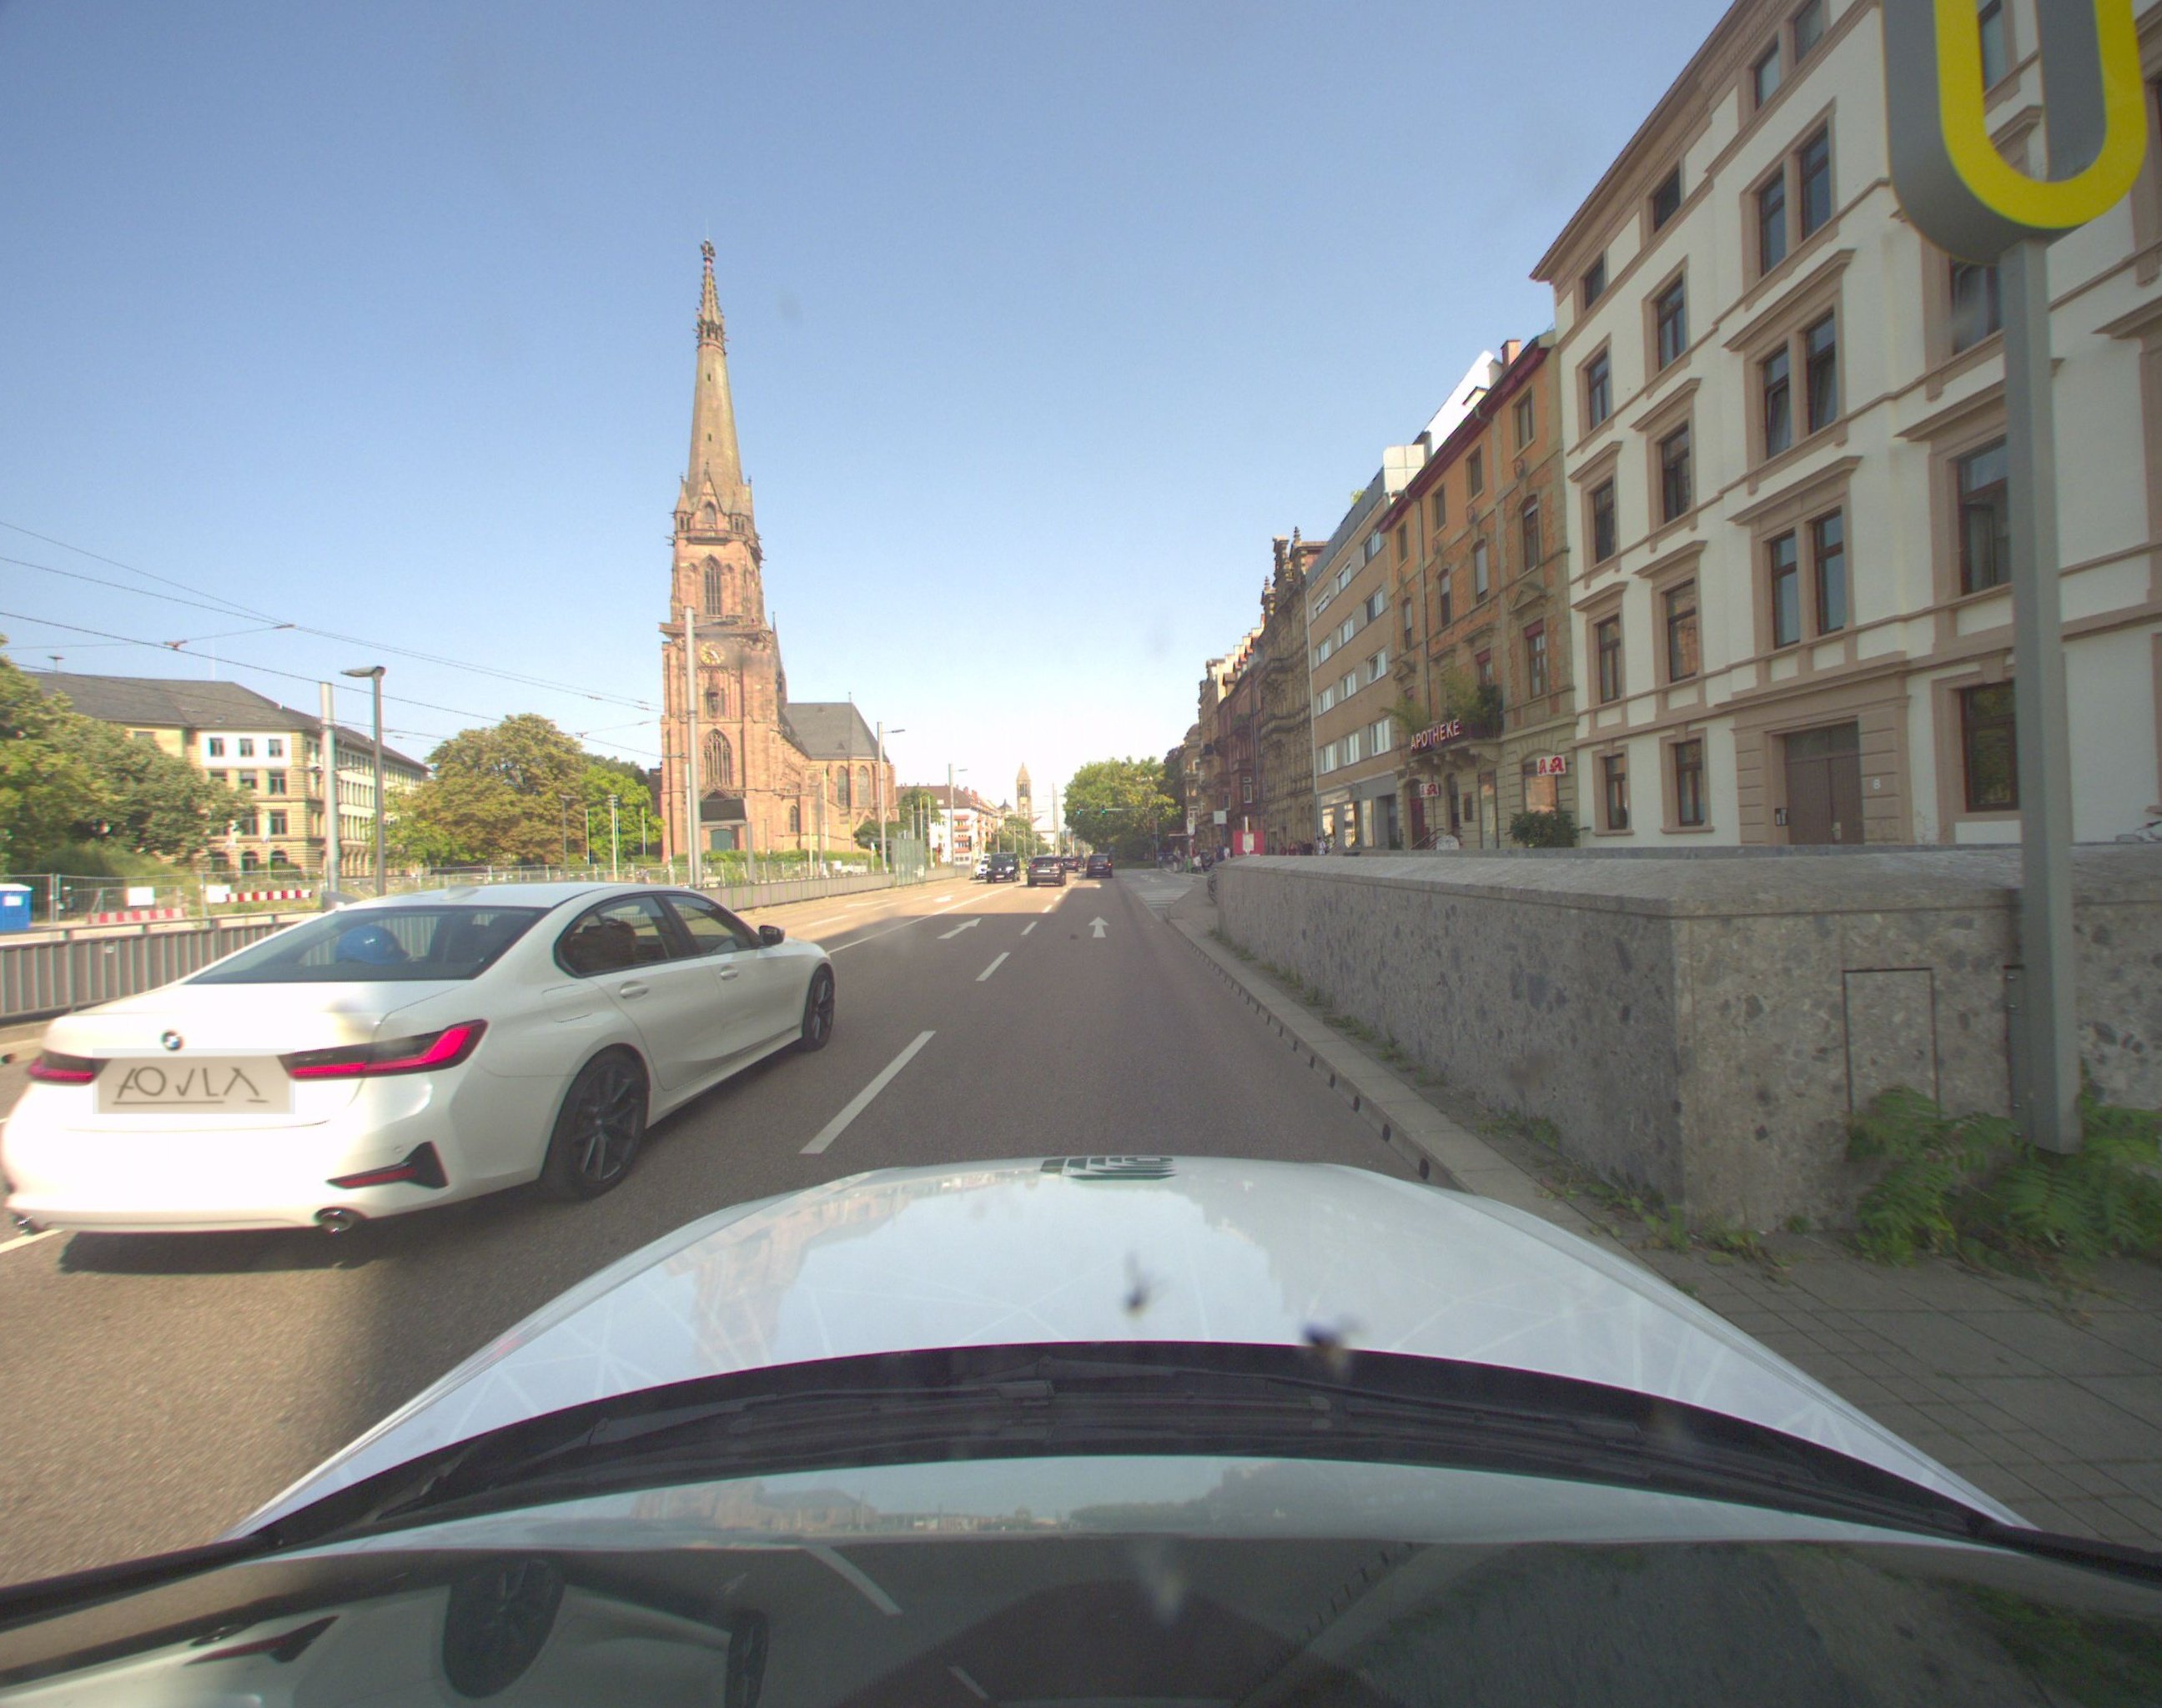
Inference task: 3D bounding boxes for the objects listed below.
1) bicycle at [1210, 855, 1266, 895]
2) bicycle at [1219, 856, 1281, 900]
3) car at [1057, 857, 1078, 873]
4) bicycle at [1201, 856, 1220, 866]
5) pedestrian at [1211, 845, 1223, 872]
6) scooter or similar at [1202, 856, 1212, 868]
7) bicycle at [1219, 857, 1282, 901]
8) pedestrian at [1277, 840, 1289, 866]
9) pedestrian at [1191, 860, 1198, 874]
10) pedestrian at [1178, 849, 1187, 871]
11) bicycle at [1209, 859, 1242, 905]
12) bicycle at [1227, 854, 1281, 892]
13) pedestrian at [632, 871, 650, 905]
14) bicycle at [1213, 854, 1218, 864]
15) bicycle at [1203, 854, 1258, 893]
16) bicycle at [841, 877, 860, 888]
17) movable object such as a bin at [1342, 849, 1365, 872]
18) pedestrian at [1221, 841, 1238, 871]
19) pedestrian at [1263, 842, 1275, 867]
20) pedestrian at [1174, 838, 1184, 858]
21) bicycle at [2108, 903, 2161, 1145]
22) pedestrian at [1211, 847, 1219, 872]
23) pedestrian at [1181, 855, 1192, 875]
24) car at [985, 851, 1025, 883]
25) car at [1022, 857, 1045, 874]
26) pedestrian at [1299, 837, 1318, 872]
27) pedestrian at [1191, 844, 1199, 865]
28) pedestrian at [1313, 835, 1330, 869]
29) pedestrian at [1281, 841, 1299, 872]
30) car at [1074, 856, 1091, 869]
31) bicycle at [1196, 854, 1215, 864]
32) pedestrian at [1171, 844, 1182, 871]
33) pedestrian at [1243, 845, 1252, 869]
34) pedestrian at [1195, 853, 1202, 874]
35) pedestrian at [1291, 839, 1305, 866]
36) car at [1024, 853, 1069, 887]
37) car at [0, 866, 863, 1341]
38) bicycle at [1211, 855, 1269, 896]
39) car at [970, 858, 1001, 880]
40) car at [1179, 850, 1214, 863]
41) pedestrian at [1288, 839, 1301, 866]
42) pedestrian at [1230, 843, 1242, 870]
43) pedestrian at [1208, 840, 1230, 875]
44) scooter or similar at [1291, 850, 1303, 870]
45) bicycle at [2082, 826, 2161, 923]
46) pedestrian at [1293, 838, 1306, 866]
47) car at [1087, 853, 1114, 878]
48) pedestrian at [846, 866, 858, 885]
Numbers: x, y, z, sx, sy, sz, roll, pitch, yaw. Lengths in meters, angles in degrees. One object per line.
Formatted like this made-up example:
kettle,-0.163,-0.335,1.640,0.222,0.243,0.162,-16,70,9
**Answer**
bicycle,4.871,0.657,25.255,1.629,1.148,0.385,-3,0,-4
bicycle,4.757,0.681,22.951,1.629,1.148,0.385,-3,0,-4
car,-1.290,1.041,78.896,1.857,1.424,4.359,-1,0,2
bicycle,14.068,0.733,88.283,1.924,1.048,0.499,-3,0,-5
pedestrian,8.850,0.272,53.046,0.563,1.729,0.617,-2,0,-2
scooter or similar,8.210,0.514,53.089,0.563,0.741,0.514,-2,0,-2
bicycle,4.669,0.680,22.484,1.629,1.148,0.385,-3,0,-4
pedestrian,13.429,-0.069,54.087,0.601,1.654,0.587,-2,0,0
pedestrian,7.164,0.825,51.519,0.302,0.820,0.603,-2,0,-6
pedestrian,7.535,0.410,60.627,0.526,1.612,0.702,-2,0,-2
bicycle,3.766,0.711,21.359,0.406,1.148,1.653,-3,0,-4
bicycle,5.640,0.626,26.599,1.626,1.148,0.602,-3,0,3
pedestrian,-23.210,1.785,42.975,0.515,1.700,0.664,-2,0,0
bicycle,14.147,0.518,85.744,0.414,1.048,1.673,-3,0,7
bicycle,4.761,0.618,25.980,1.629,1.148,0.385,-3,0,-4
bicycle,-21.715,2.686,76.649,1.743,0.978,0.482,-3,0,23
movable object such as a bin,12.888,0.312,38.494,0.738,1.080,0.666,-2,0,-16
pedestrian,8.566,0.114,47.113,0.747,1.729,0.800,-2,0,-2
pedestrian,13.241,0.045,57.273,0.627,1.719,0.691,-2,0,1
pedestrian,8.146,-0.484,67.502,0.688,1.664,0.620,-2,0,1
bicycle,5.288,0.813,3.145,0.382,1.134,1.791,-2,0,2
pedestrian,9.298,0.359,56.374,0.340,1.732,0.805,-2,0,-2
pedestrian,6.892,0.727,53.235,0.563,1.277,0.596,-2,0,-3
car,-4.904,0.824,53.223,1.986,1.904,4.717,-4,0,1
car,-4.342,1.043,75.716,1.707,1.331,4.522,-4,0,1
pedestrian,11.909,0.021,42.638,0.717,1.787,0.856,-2,0,2
pedestrian,9.395,0.019,67.139,0.480,1.702,0.702,-2,0,-2
pedestrian,13.093,-0.099,44.311,0.602,1.831,0.742,-2,0,-2
pedestrian,10.977,0.132,42.815,0.717,1.610,0.856,-2,0,2
car,0.230,0.979,97.672,1.857,1.424,4.359,-1,0,2
bicycle,13.378,0.550,87.321,1.924,1.048,0.499,-3,0,-5
pedestrian,6.244,0.209,53.208,0.563,1.729,0.745,-2,0,-2
pedestrian,11.642,0.223,56.964,0.484,1.610,0.813,-2,0,2
pedestrian,7.196,0.580,50.052,0.275,1.274,0.447,-2,0,-6
pedestrian,13.692,-0.104,51.396,0.602,1.692,0.586,-2,0,-2
car,-1.747,0.769,42.350,1.986,1.621,4.359,-1,0,2
car,-2.993,0.840,5.027,1.802,1.427,4.777,0,0,2
bicycle,4.797,0.637,24.582,1.629,1.148,0.385,-3,0,-4
car,-7.564,1.168,64.732,1.707,1.611,4.506,-4,0,1
car,15.096,0.328,106.780,4.171,1.563,1.998,-3,0,-3
pedestrian,13.636,-0.066,52.111,0.602,1.692,0.586,-2,0,-2
pedestrian,10.858,0.165,56.922,0.614,1.804,1.072,-2,0,2
pedestrian,7.347,0.187,43.450,0.923,1.831,0.800,-2,0,-2
scooter or similar,13.054,0.338,49.220,0.359,1.163,1.152,-2,0,-1
bicycle,12.874,0.240,9.453,0.382,1.134,1.720,-2,0,2
pedestrian,13.541,-0.136,50.442,0.602,1.731,0.510,-2,0,-2
car,1.383,0.781,58.142,1.825,1.621,4.359,-1,0,2
pedestrian,-21.518,2.009,76.530,0.908,1.679,0.605,-3,0,22
